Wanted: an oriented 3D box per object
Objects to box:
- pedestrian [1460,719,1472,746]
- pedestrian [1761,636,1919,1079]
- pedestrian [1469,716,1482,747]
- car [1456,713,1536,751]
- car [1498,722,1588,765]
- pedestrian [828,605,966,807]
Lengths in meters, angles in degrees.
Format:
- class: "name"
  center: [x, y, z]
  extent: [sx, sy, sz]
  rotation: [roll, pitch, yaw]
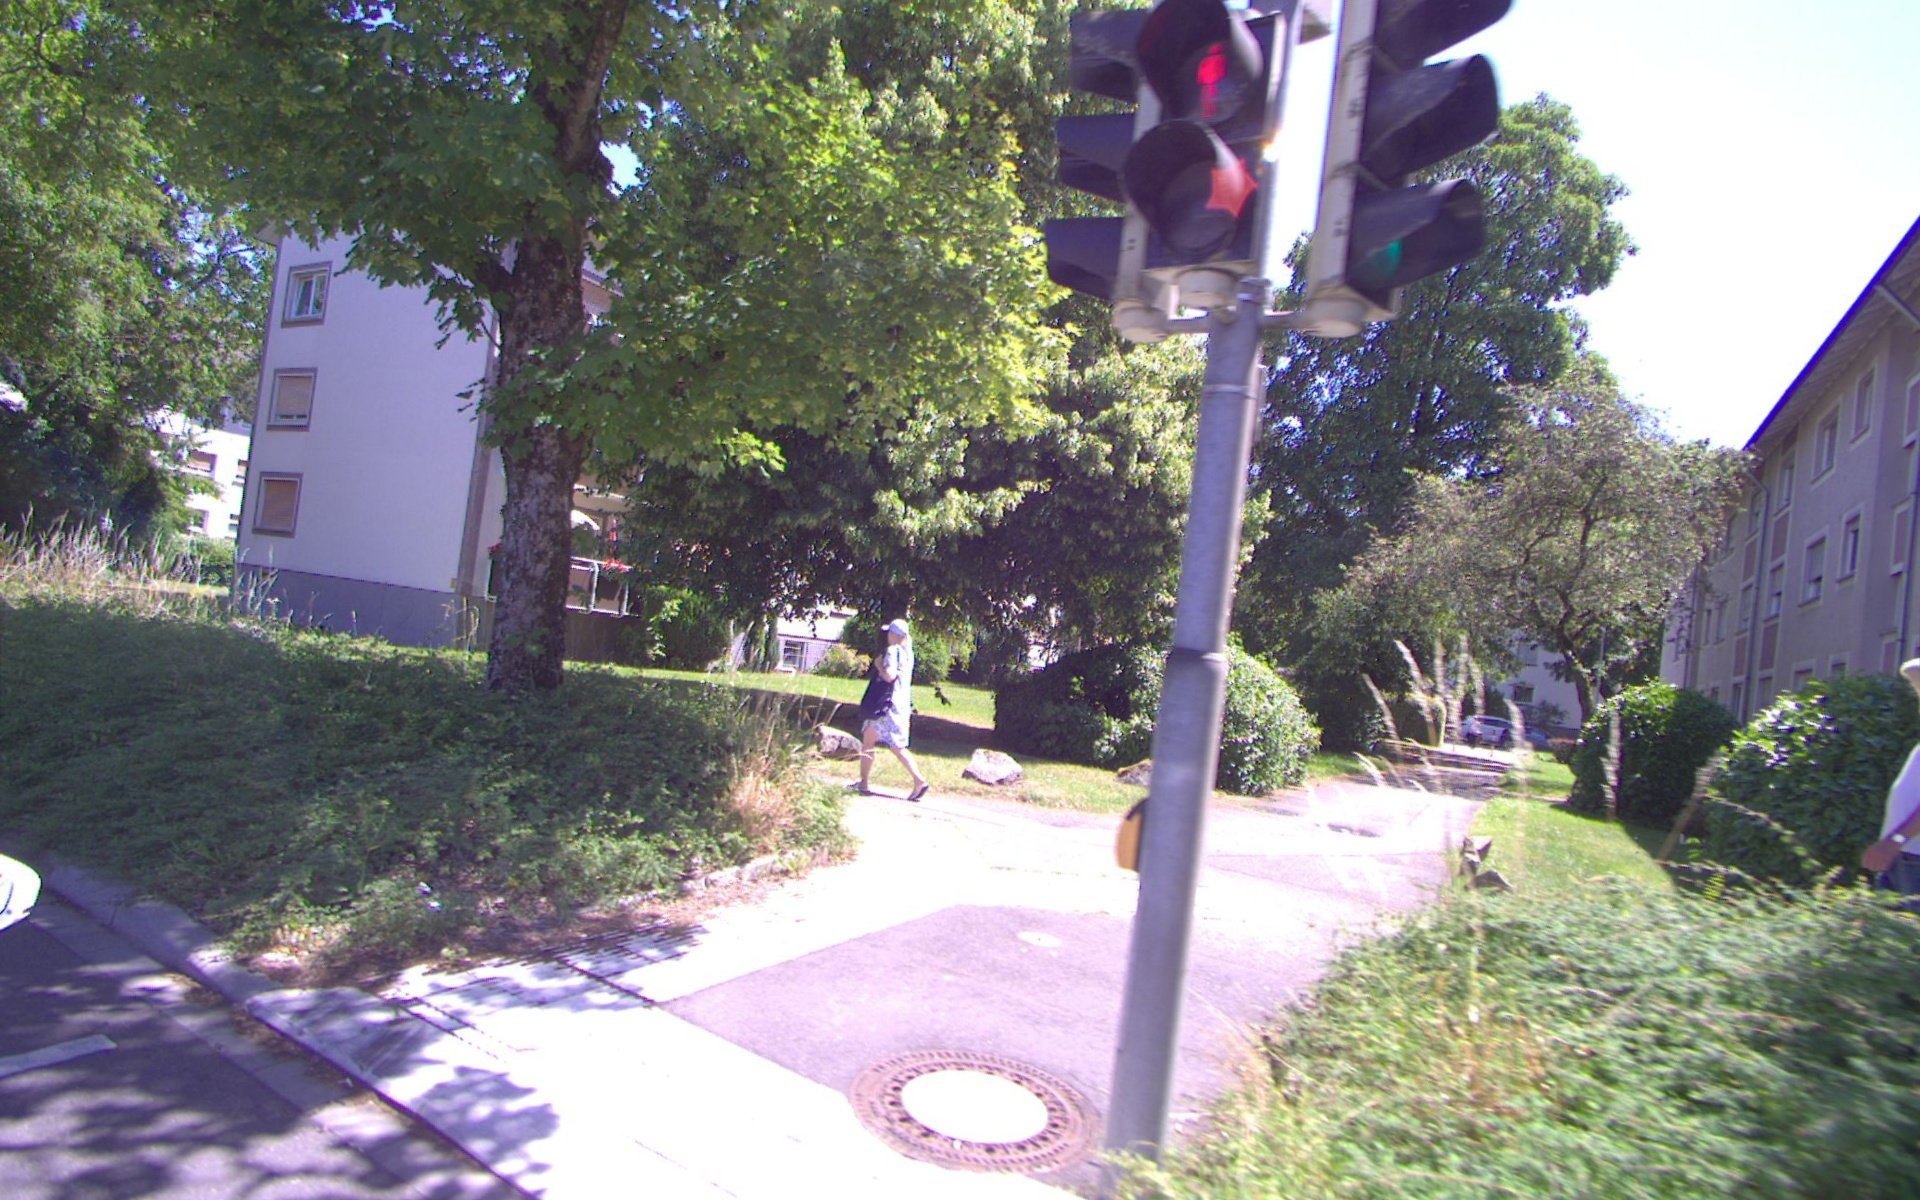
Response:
- class: "pedestrian"
  center: [24.660, 6.456, 49.008]
  extent: [0.363, 1.259, 0.380]
  rotation: [6, -1, 38]
- class: "pedestrian"
  center: [4.500, 1.178, 4.670]
  extent: [0.886, 1.894, 0.675]
  rotation: [6, -2, 12]
- class: "pedestrian"
  center: [24.993, 6.391, 48.764]
  extent: [0.363, 1.450, 0.380]
  rotation: [6, -1, 38]
- class: "car"
  center: [32.503, 7.956, 61.028]
  extent: [4.076, 1.645, 1.686]
  rotation: [6, -2, 32]
- class: "car"
  center: [31.967, 7.847, 55.201]
  extent: [4.076, 1.645, 1.686]
  rotation: [6, -2, 32]
- class: "pedestrian"
  center: [-0.557, 0.934, 9.098]
  extent: [0.836, 1.652, 0.720]
  rotation: [6, -1, 24]
